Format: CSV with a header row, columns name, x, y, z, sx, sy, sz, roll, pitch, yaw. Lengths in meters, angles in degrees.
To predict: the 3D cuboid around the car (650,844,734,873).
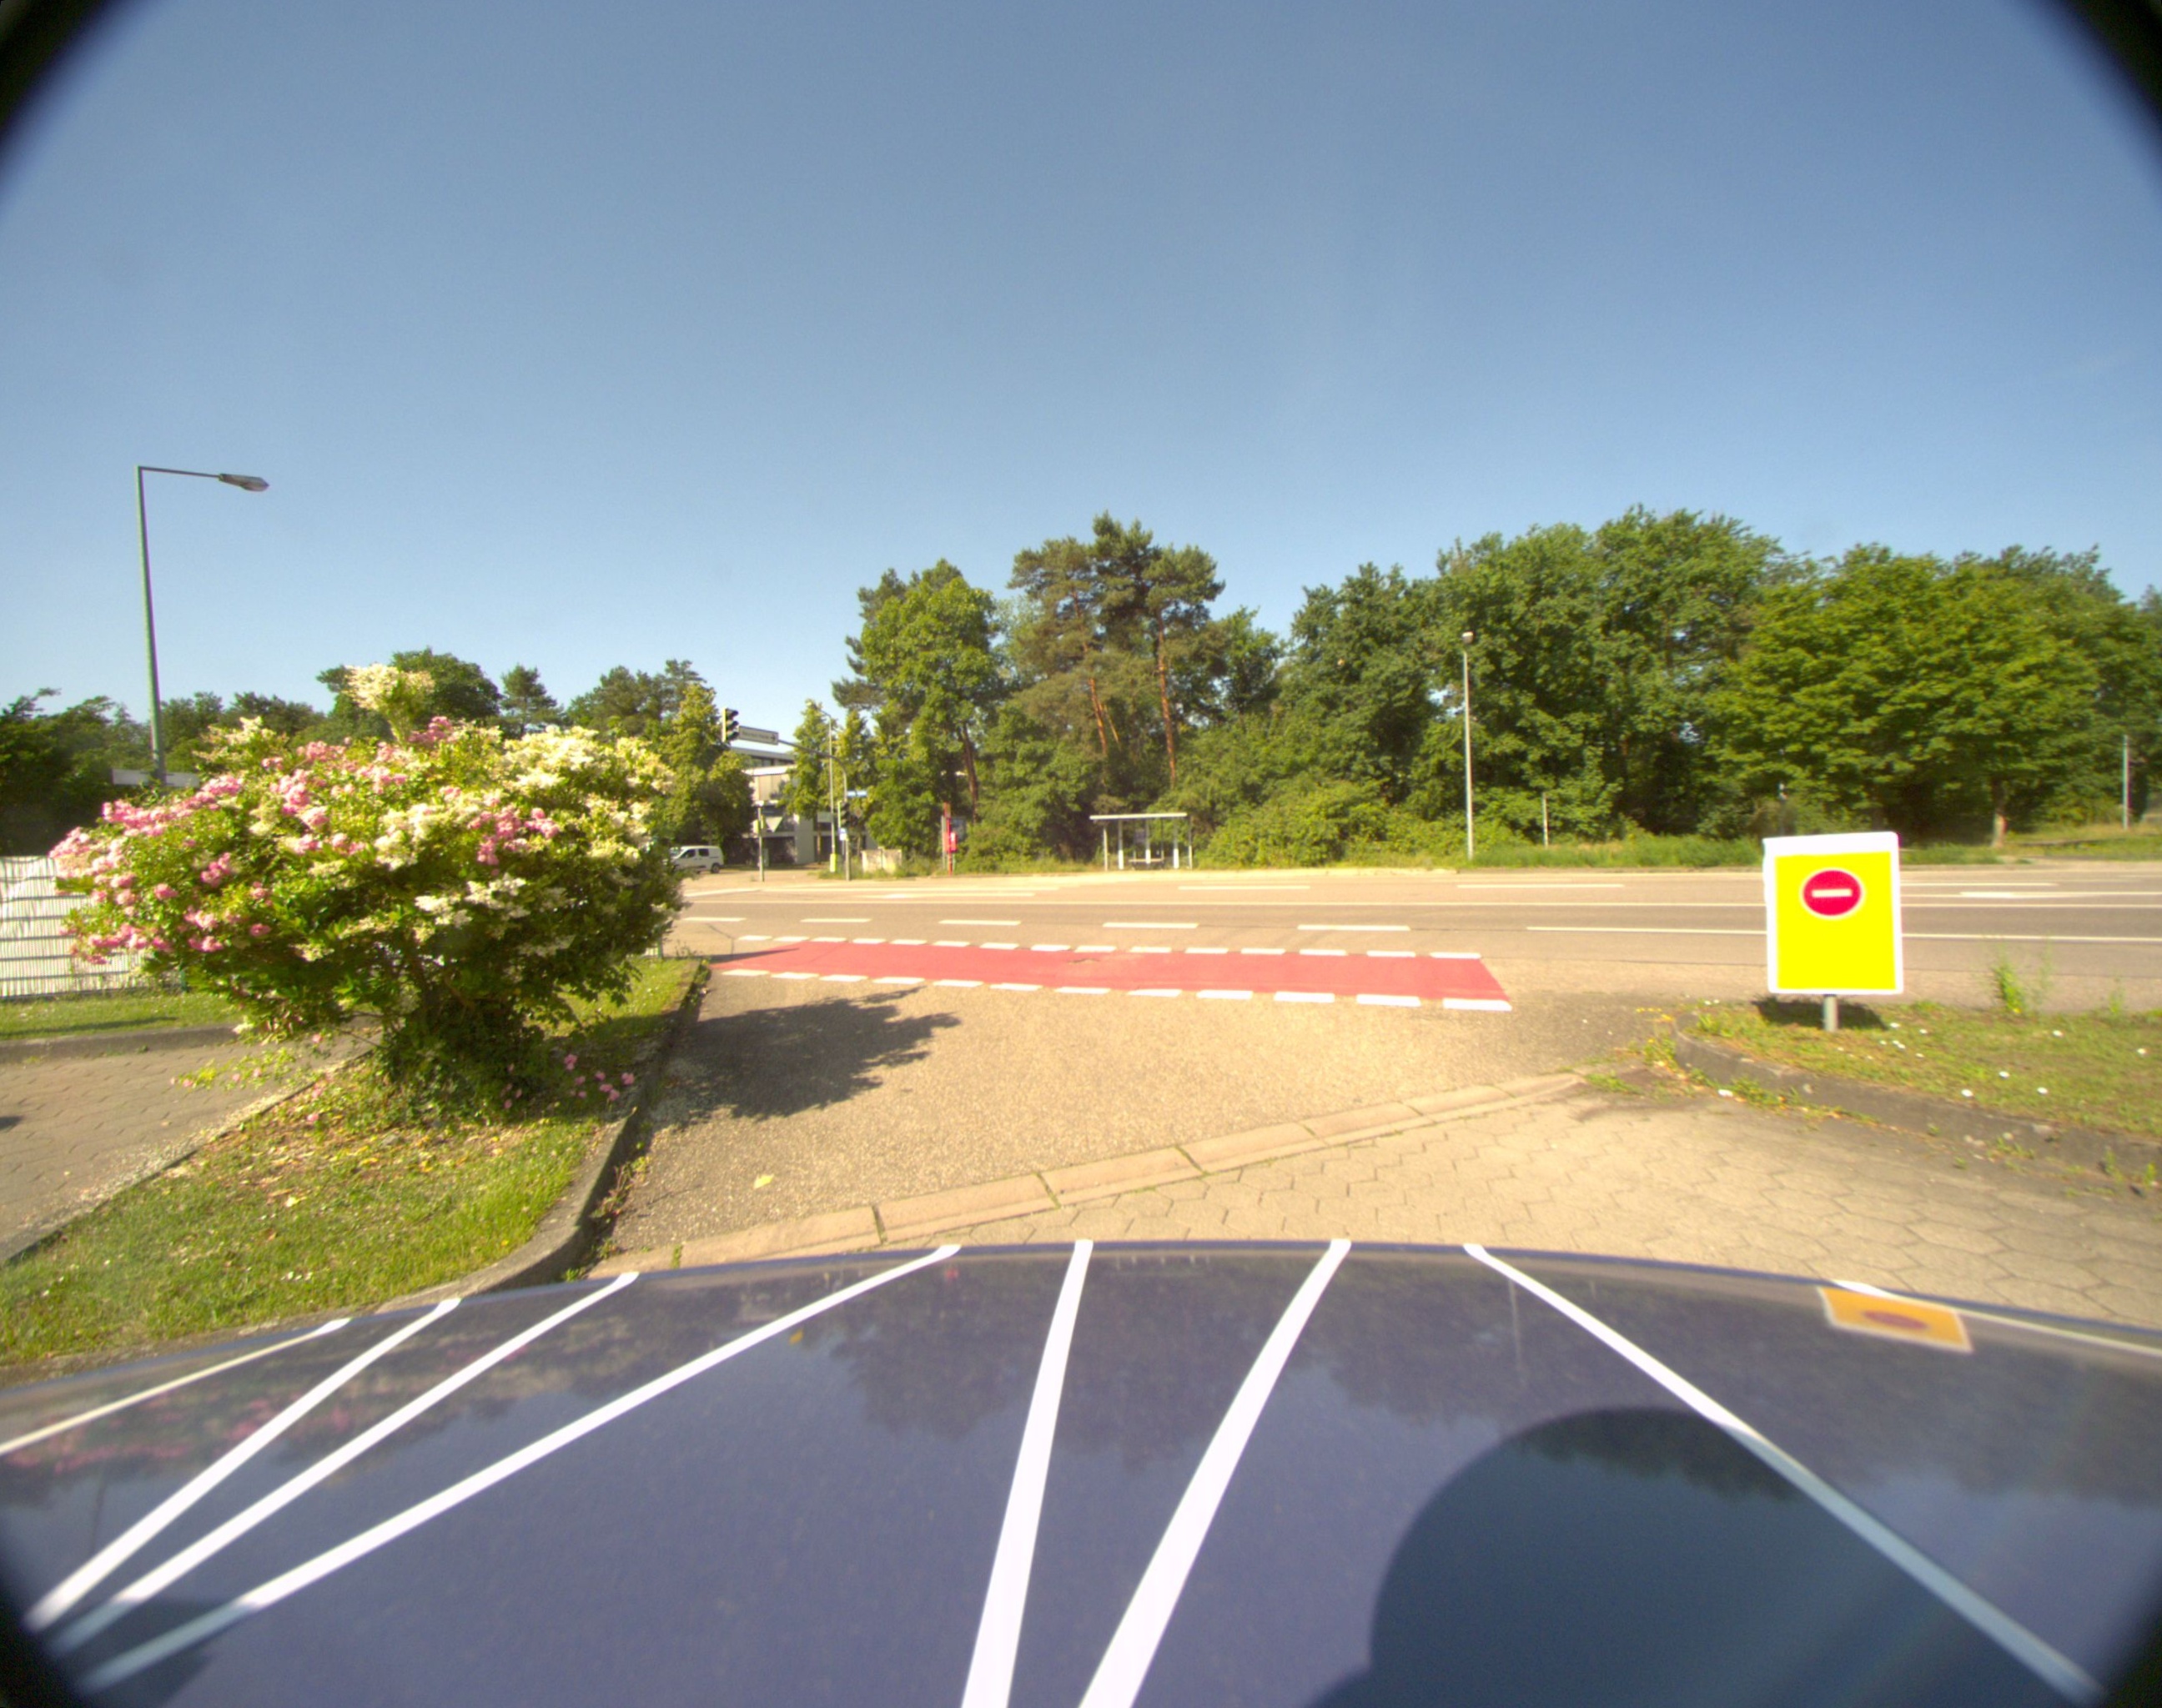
name,x,y,z,sx,sy,sz,roll,pitch,yaw
car,-24.631,0.247,48.339,1.848,1.767,4.668,-1,1,21
